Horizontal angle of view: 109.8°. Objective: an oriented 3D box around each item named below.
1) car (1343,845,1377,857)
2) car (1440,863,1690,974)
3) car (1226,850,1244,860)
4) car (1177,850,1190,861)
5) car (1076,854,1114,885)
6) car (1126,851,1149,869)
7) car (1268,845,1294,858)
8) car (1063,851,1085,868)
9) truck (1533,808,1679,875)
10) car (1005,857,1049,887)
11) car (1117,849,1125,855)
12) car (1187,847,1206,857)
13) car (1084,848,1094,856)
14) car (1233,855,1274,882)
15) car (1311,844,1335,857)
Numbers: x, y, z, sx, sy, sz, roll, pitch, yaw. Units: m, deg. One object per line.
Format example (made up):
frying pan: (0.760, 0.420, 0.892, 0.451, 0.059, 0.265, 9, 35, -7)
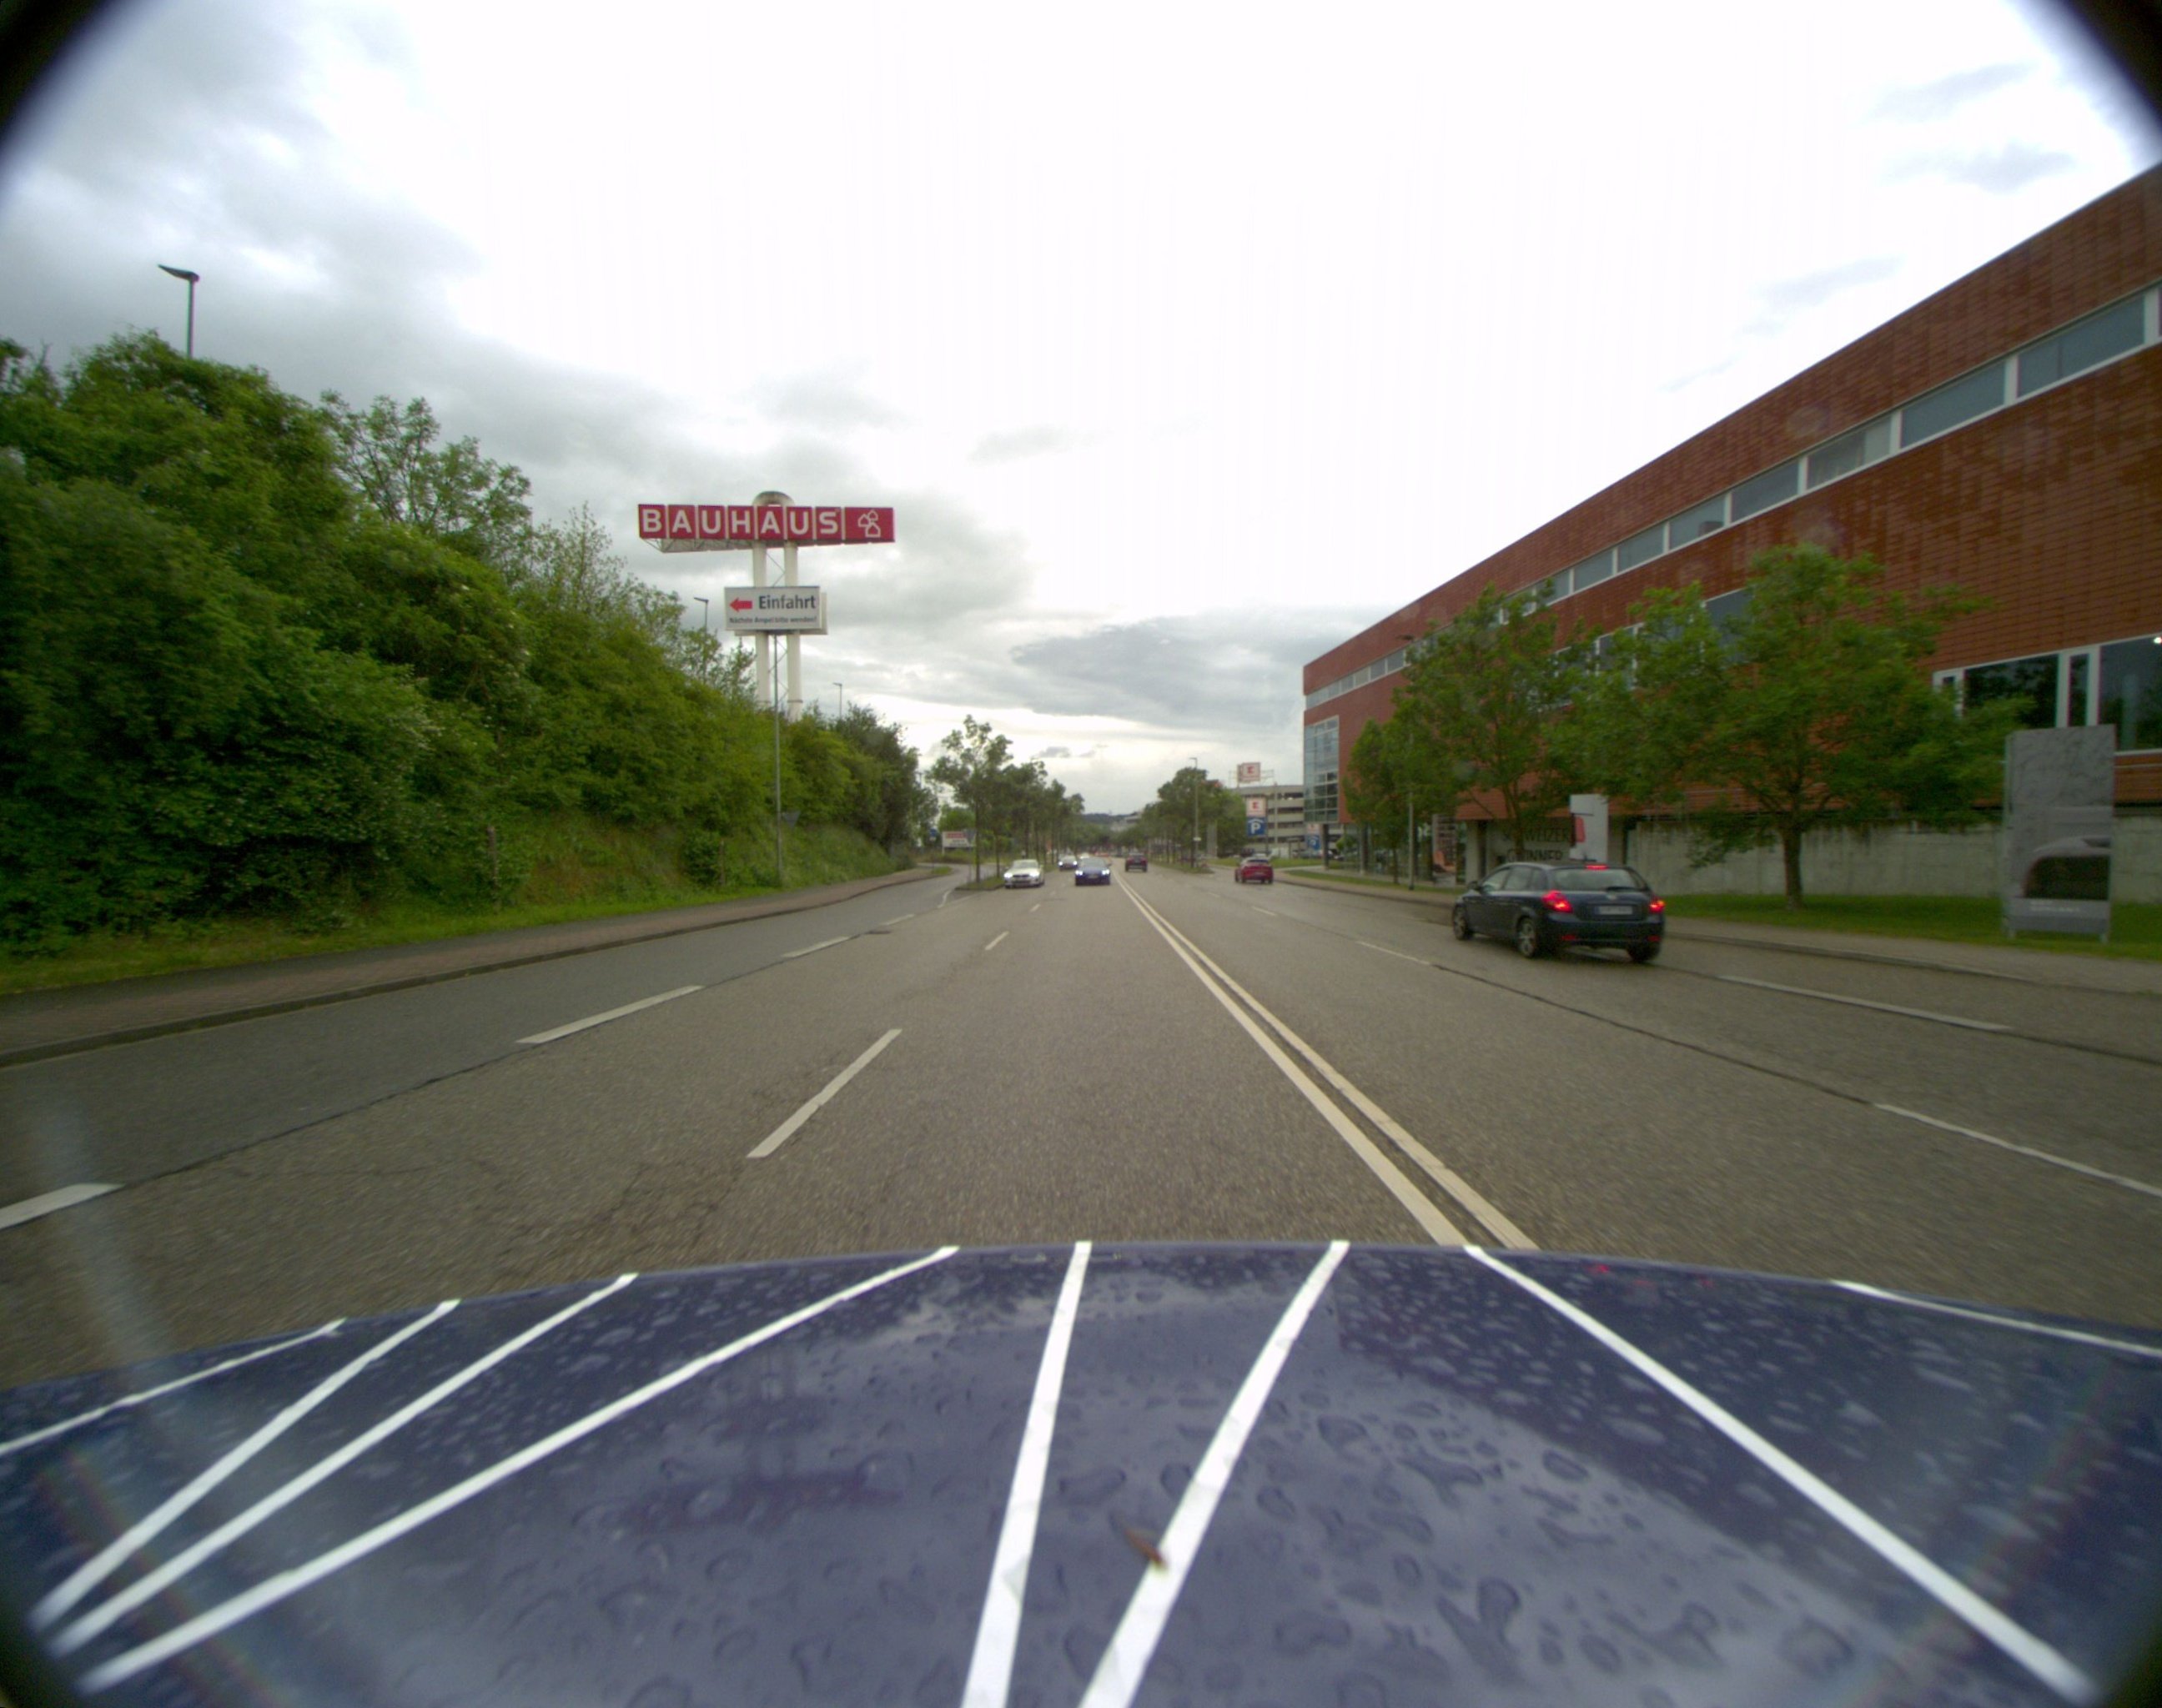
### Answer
car: (38.268, -0.367, 104.201, 4.060, 1.608, 1.834, 0, 1, 1)
car: (7.614, 0.907, 12.475, 1.740, 1.445, 4.001, 1, 0, 4)
car: (23.813, 0.134, 117.567, 1.833, 1.608, 4.062, 0, 0, -1)
car: (15.756, 0.183, 116.504, 1.832, 1.608, 4.002, -2, 0, 7)
car: (0.746, 0.777, 40.100, 1.827, 1.473, 4.840, -2, 0, 1)
car: (5.015, 0.533, 67.841, 1.863, 1.568, 4.321, 1, 0, 1)
car: (25.629, -0.372, 97.445, 1.834, 1.608, 4.436, 0, 0, -6)
car: (-0.695, 0.550, 77.367, 2.114, 1.610, 4.840, -1, 0, 1)
truck: (26.578, -0.627, 38.569, 6.152, 3.289, 2.023, 0, 2, -4)
car: (-2.844, 0.920, 40.754, 1.863, 1.473, 4.001, -1, 0, 3)
car: (12.111, -0.584, 228.669, 2.114, 1.610, 4.840, 1, 0, 1)
car: (23.073, -0.401, 151.793, 1.845, 1.839, 4.009, 0, 0, 43)
car: (1.574, -0.398, 151.881, 1.853, 1.565, 3.998, -2, 2, -2)
car: (10.129, 0.796, 44.783, 1.680, 1.497, 4.217, 0, 0, 4)
car: (26.013, -0.411, 81.602, 1.509, 1.276, 3.450, -2, 1, 1)
